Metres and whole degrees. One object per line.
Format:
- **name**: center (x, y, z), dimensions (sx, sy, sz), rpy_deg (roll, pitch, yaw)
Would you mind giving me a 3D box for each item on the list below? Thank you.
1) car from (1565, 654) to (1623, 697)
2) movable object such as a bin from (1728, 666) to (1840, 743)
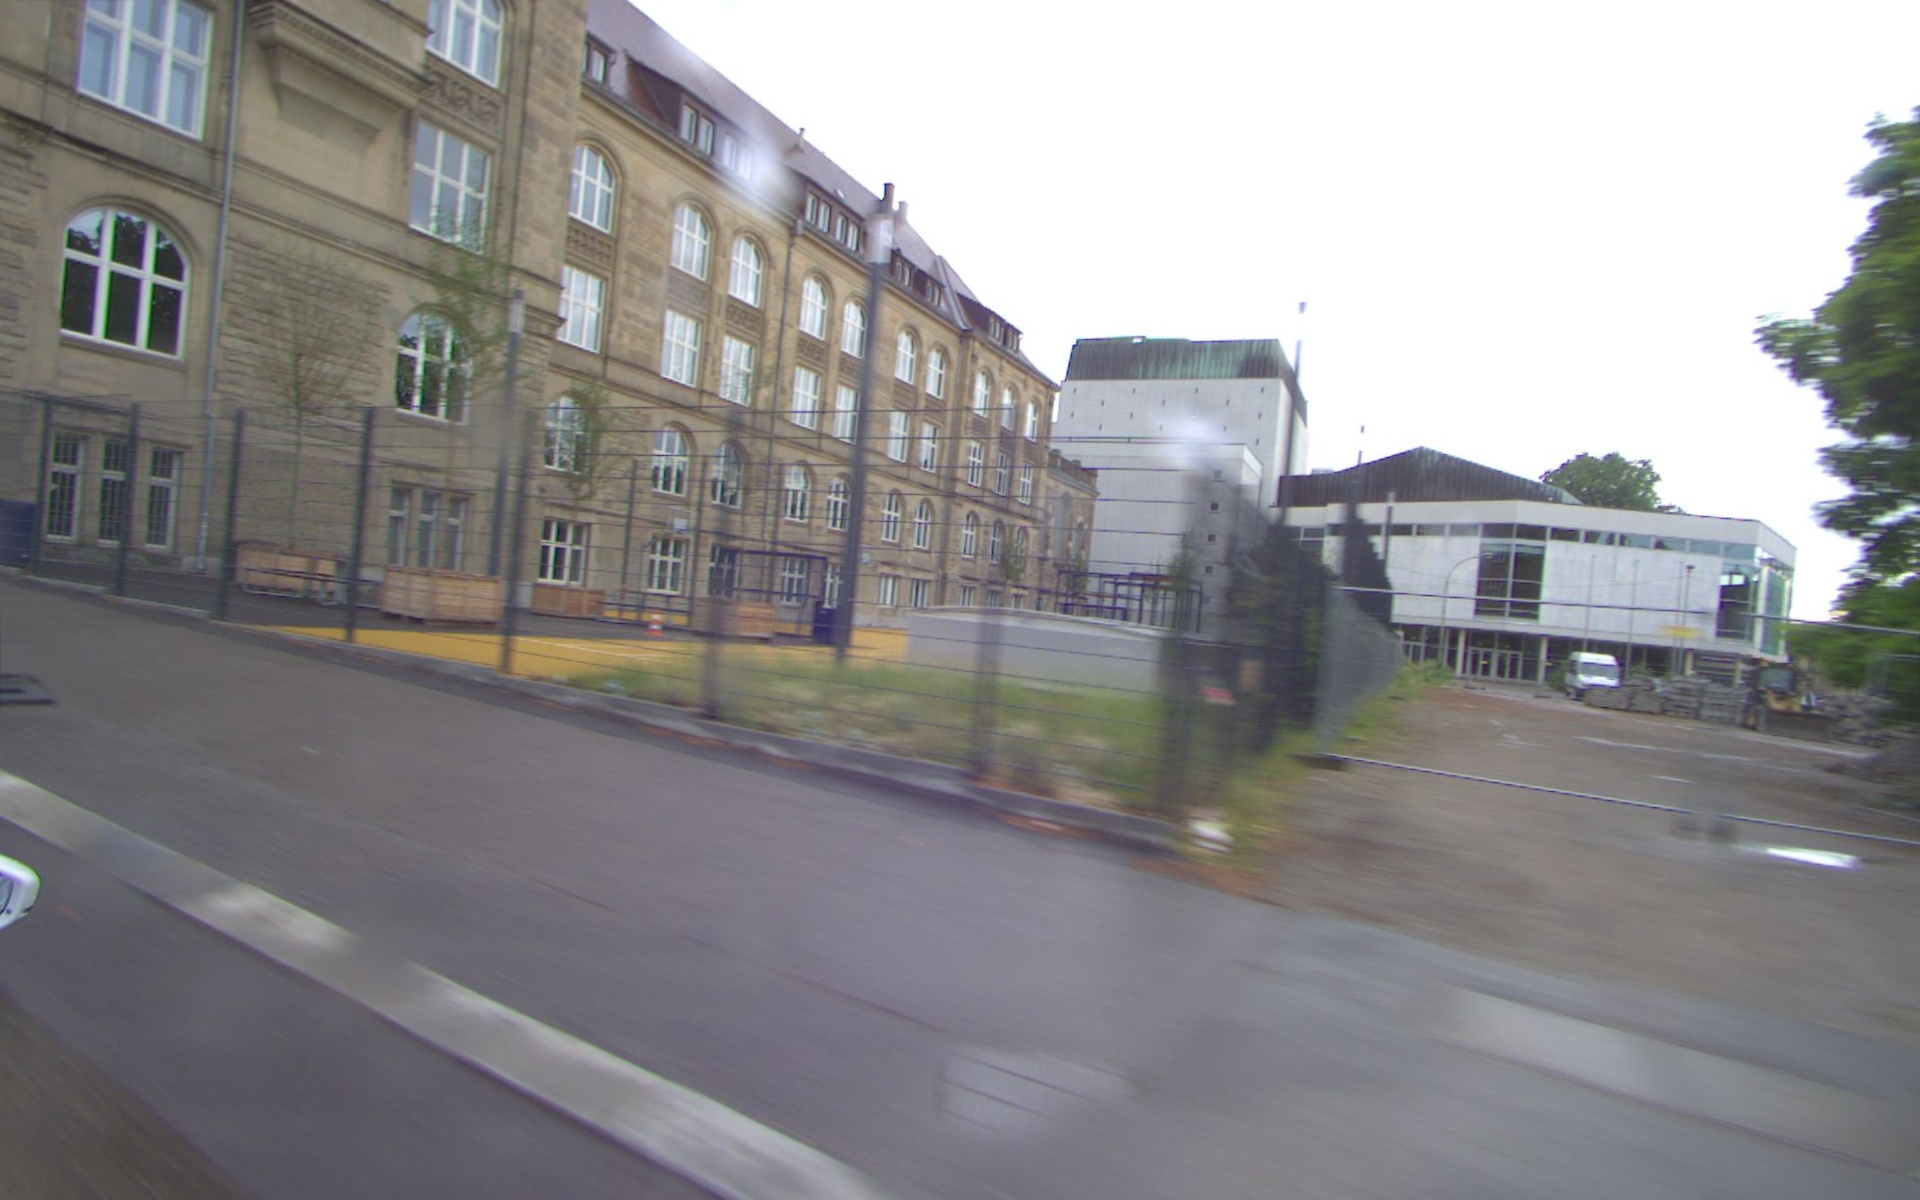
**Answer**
- **car**: center (34.070, 4.010, 54.131), dimensions (1.964, 2.039, 3.996), rpy_deg (5, 0, 25)
- **movable object such as a bin**: center (33.424, 4.158, 40.984), dimensions (2.452, 2.679, 4.569), rpy_deg (5, 0, 28)
